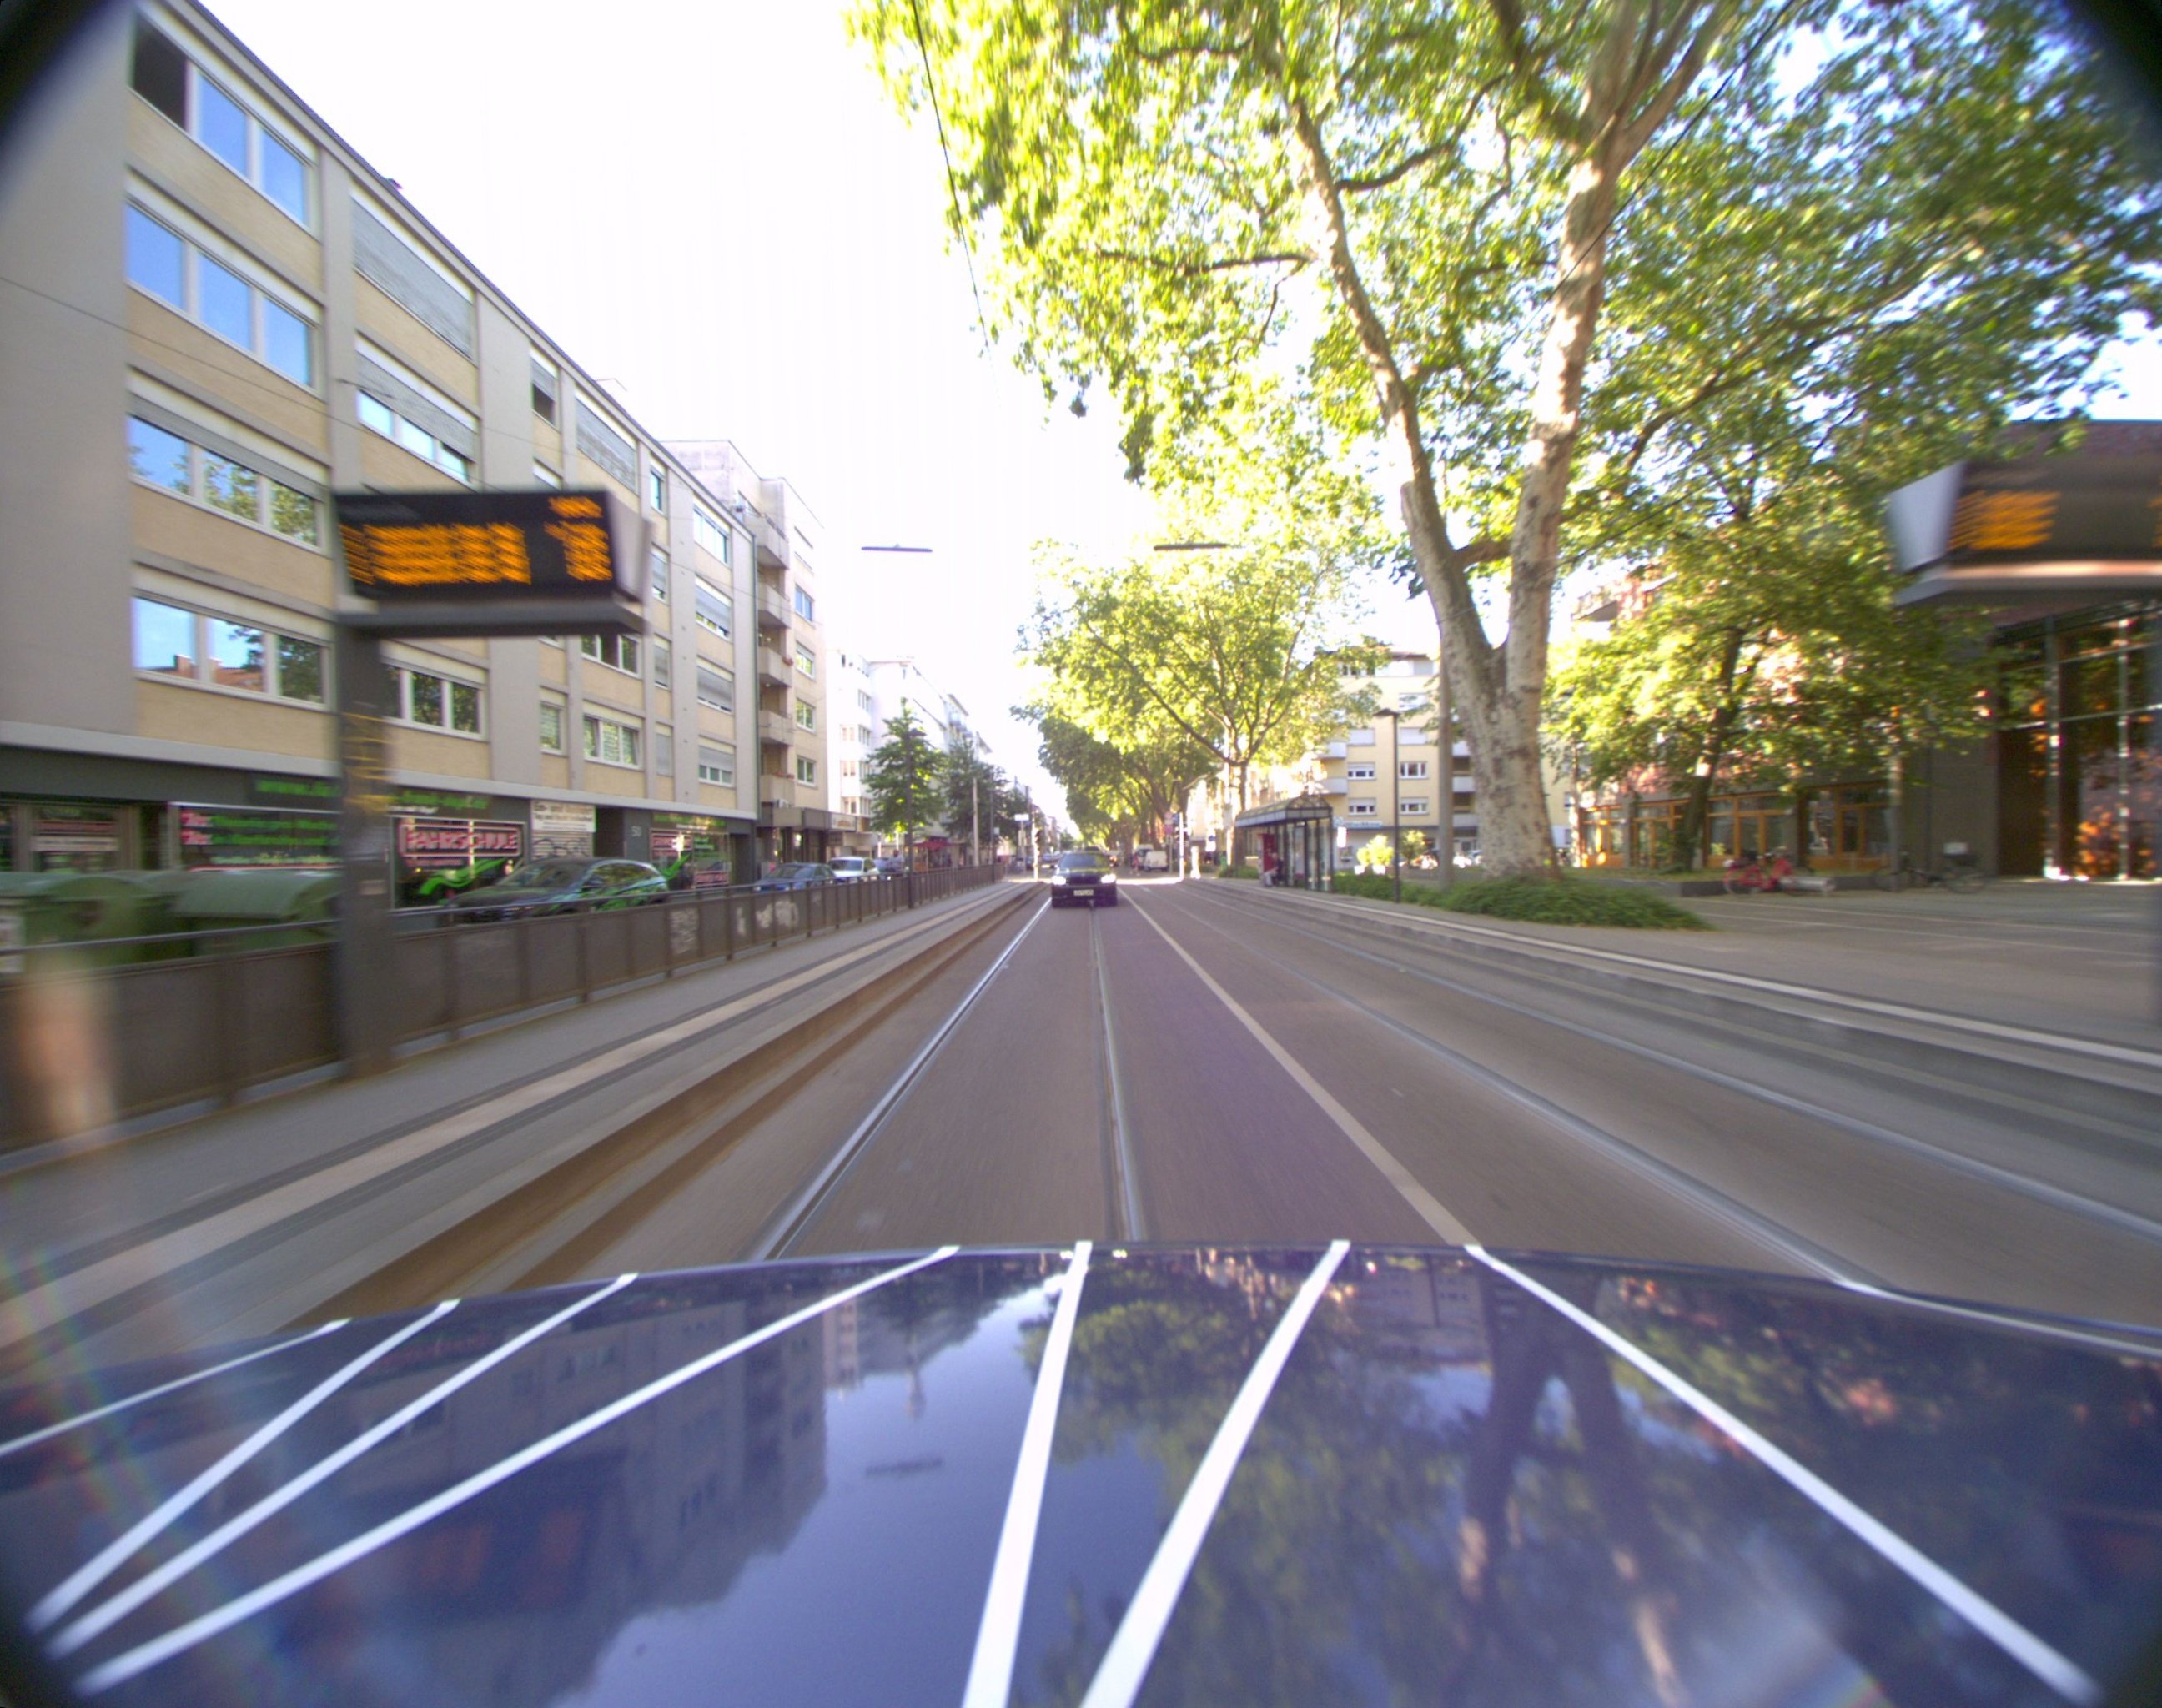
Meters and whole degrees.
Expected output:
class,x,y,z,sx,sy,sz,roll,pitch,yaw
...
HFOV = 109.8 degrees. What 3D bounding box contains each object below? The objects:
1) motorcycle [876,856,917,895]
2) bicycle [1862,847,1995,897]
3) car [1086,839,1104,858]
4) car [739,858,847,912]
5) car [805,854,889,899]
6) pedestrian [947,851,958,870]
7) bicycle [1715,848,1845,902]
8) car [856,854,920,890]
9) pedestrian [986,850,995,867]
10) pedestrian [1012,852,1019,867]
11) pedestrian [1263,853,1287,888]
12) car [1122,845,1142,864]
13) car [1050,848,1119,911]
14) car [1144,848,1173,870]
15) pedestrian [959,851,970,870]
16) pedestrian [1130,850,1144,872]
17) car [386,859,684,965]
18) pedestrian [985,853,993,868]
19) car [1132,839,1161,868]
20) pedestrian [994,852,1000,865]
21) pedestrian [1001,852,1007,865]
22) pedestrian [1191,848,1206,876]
class,x,y,z,sx,sy,sz,roll,pitch,yaw
motorcycle,-7.427,0.859,30.717,1.054,1.446,2.208,-2,1,1
bicycle,19.963,0.413,17.938,0.823,1.088,2.033,-3,1,-37
car,1.783,-0.679,98.669,2.142,2.275,4.964,-3,1,0
car,-9.290,0.941,24.869,1.899,1.477,3.999,-2,1,1
car,-9.186,0.830,30.235,1.998,1.572,3.999,-2,1,1
pedestrian,-11.469,0.606,67.692,0.752,1.645,0.970,-2,1,-1
bicycle,16.643,0.502,18.162,2.098,1.182,0.882,-2,1,17
car,-9.405,0.833,37.328,1.998,1.583,3.999,-2,1,1
pedestrian,-8.988,0.421,75.718,0.752,1.645,0.970,-2,1,-1
pedestrian,-7.469,0.599,86.829,0.752,1.645,0.970,-2,1,-1
pedestrian,6.828,0.562,26.761,0.708,1.197,0.473,-2,1,2
car,6.509,-0.003,96.771,2.142,2.275,4.964,-3,1,0
car,0.106,0.709,24.539,1.937,1.719,5.072,-3,1,0
car,6.917,0.411,68.611,2.041,1.881,5.072,-3,1,0
pedestrian,-10.164,0.569,66.469,0.752,1.645,0.970,-2,1,-1
pedestrian,4.341,0.527,58.770,0.970,1.645,0.685,-2,1,2
car,-9.733,0.926,14.165,1.958,1.474,4.660,-3,1,3
pedestrian,-10.438,0.717,86.515,0.752,1.645,0.970,-2,1,-1
car,6.734,-0.092,78.786,2.429,2.833,5.072,-3,1,0
pedestrian,-11.011,0.594,99.470,0.685,1.645,0.836,-2,1,-1
pedestrian,-10.057,0.557,99.532,0.685,1.645,0.836,-2,1,-1
pedestrian,6.876,0.448,44.464,0.708,1.585,0.561,-2,1,2
